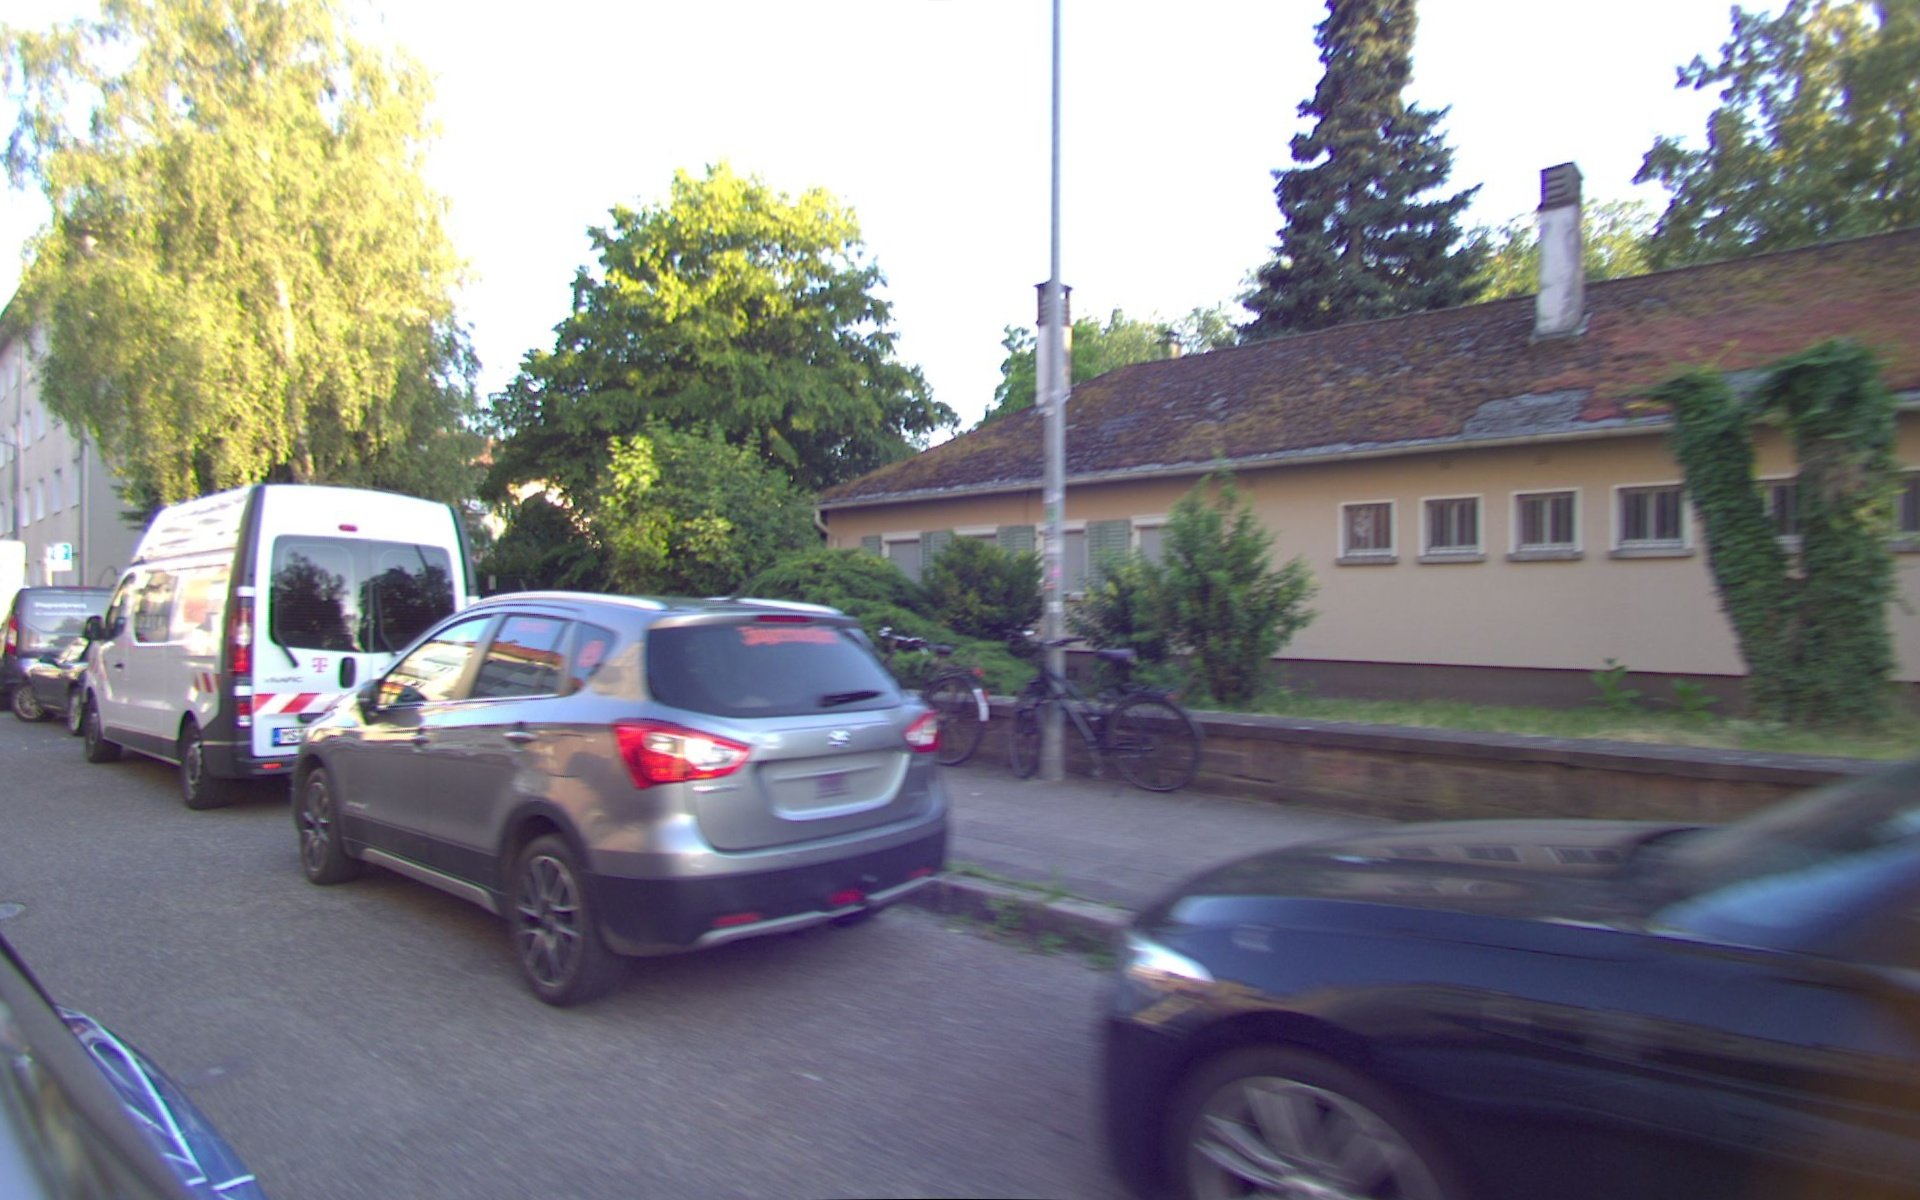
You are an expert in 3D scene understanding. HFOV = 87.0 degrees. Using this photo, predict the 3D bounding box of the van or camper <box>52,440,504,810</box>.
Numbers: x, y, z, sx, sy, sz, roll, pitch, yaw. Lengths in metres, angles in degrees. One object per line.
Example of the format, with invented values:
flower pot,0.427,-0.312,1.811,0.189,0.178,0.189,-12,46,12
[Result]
van or camper,-6.669,0.196,9.500,6.079,2.475,1.973,-1,-1,41

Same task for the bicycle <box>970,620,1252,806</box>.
bicycle,1.000,0.716,7.099,1.953,1.126,0.538,-1,0,40

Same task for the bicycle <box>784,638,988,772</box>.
bicycle,-0.673,0.835,8.616,1.955,0.972,0.537,-1,0,43

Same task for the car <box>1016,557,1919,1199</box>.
car,2.382,0.670,1.707,4.286,1.464,1.973,0,0,41

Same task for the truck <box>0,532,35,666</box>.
truck,-27.812,-0.042,27.676,8.011,3.379,2.500,0,-3,40

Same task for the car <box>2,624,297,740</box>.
car,-10.512,0.944,13.062,4.028,1.198,1.976,0,0,36

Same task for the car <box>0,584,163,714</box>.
car,-14.593,0.716,16.181,4.945,1.801,1.891,-1,-2,40

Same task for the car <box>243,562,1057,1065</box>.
car,-1.998,0.663,5.421,4.787,1.530,1.973,0,0,41
